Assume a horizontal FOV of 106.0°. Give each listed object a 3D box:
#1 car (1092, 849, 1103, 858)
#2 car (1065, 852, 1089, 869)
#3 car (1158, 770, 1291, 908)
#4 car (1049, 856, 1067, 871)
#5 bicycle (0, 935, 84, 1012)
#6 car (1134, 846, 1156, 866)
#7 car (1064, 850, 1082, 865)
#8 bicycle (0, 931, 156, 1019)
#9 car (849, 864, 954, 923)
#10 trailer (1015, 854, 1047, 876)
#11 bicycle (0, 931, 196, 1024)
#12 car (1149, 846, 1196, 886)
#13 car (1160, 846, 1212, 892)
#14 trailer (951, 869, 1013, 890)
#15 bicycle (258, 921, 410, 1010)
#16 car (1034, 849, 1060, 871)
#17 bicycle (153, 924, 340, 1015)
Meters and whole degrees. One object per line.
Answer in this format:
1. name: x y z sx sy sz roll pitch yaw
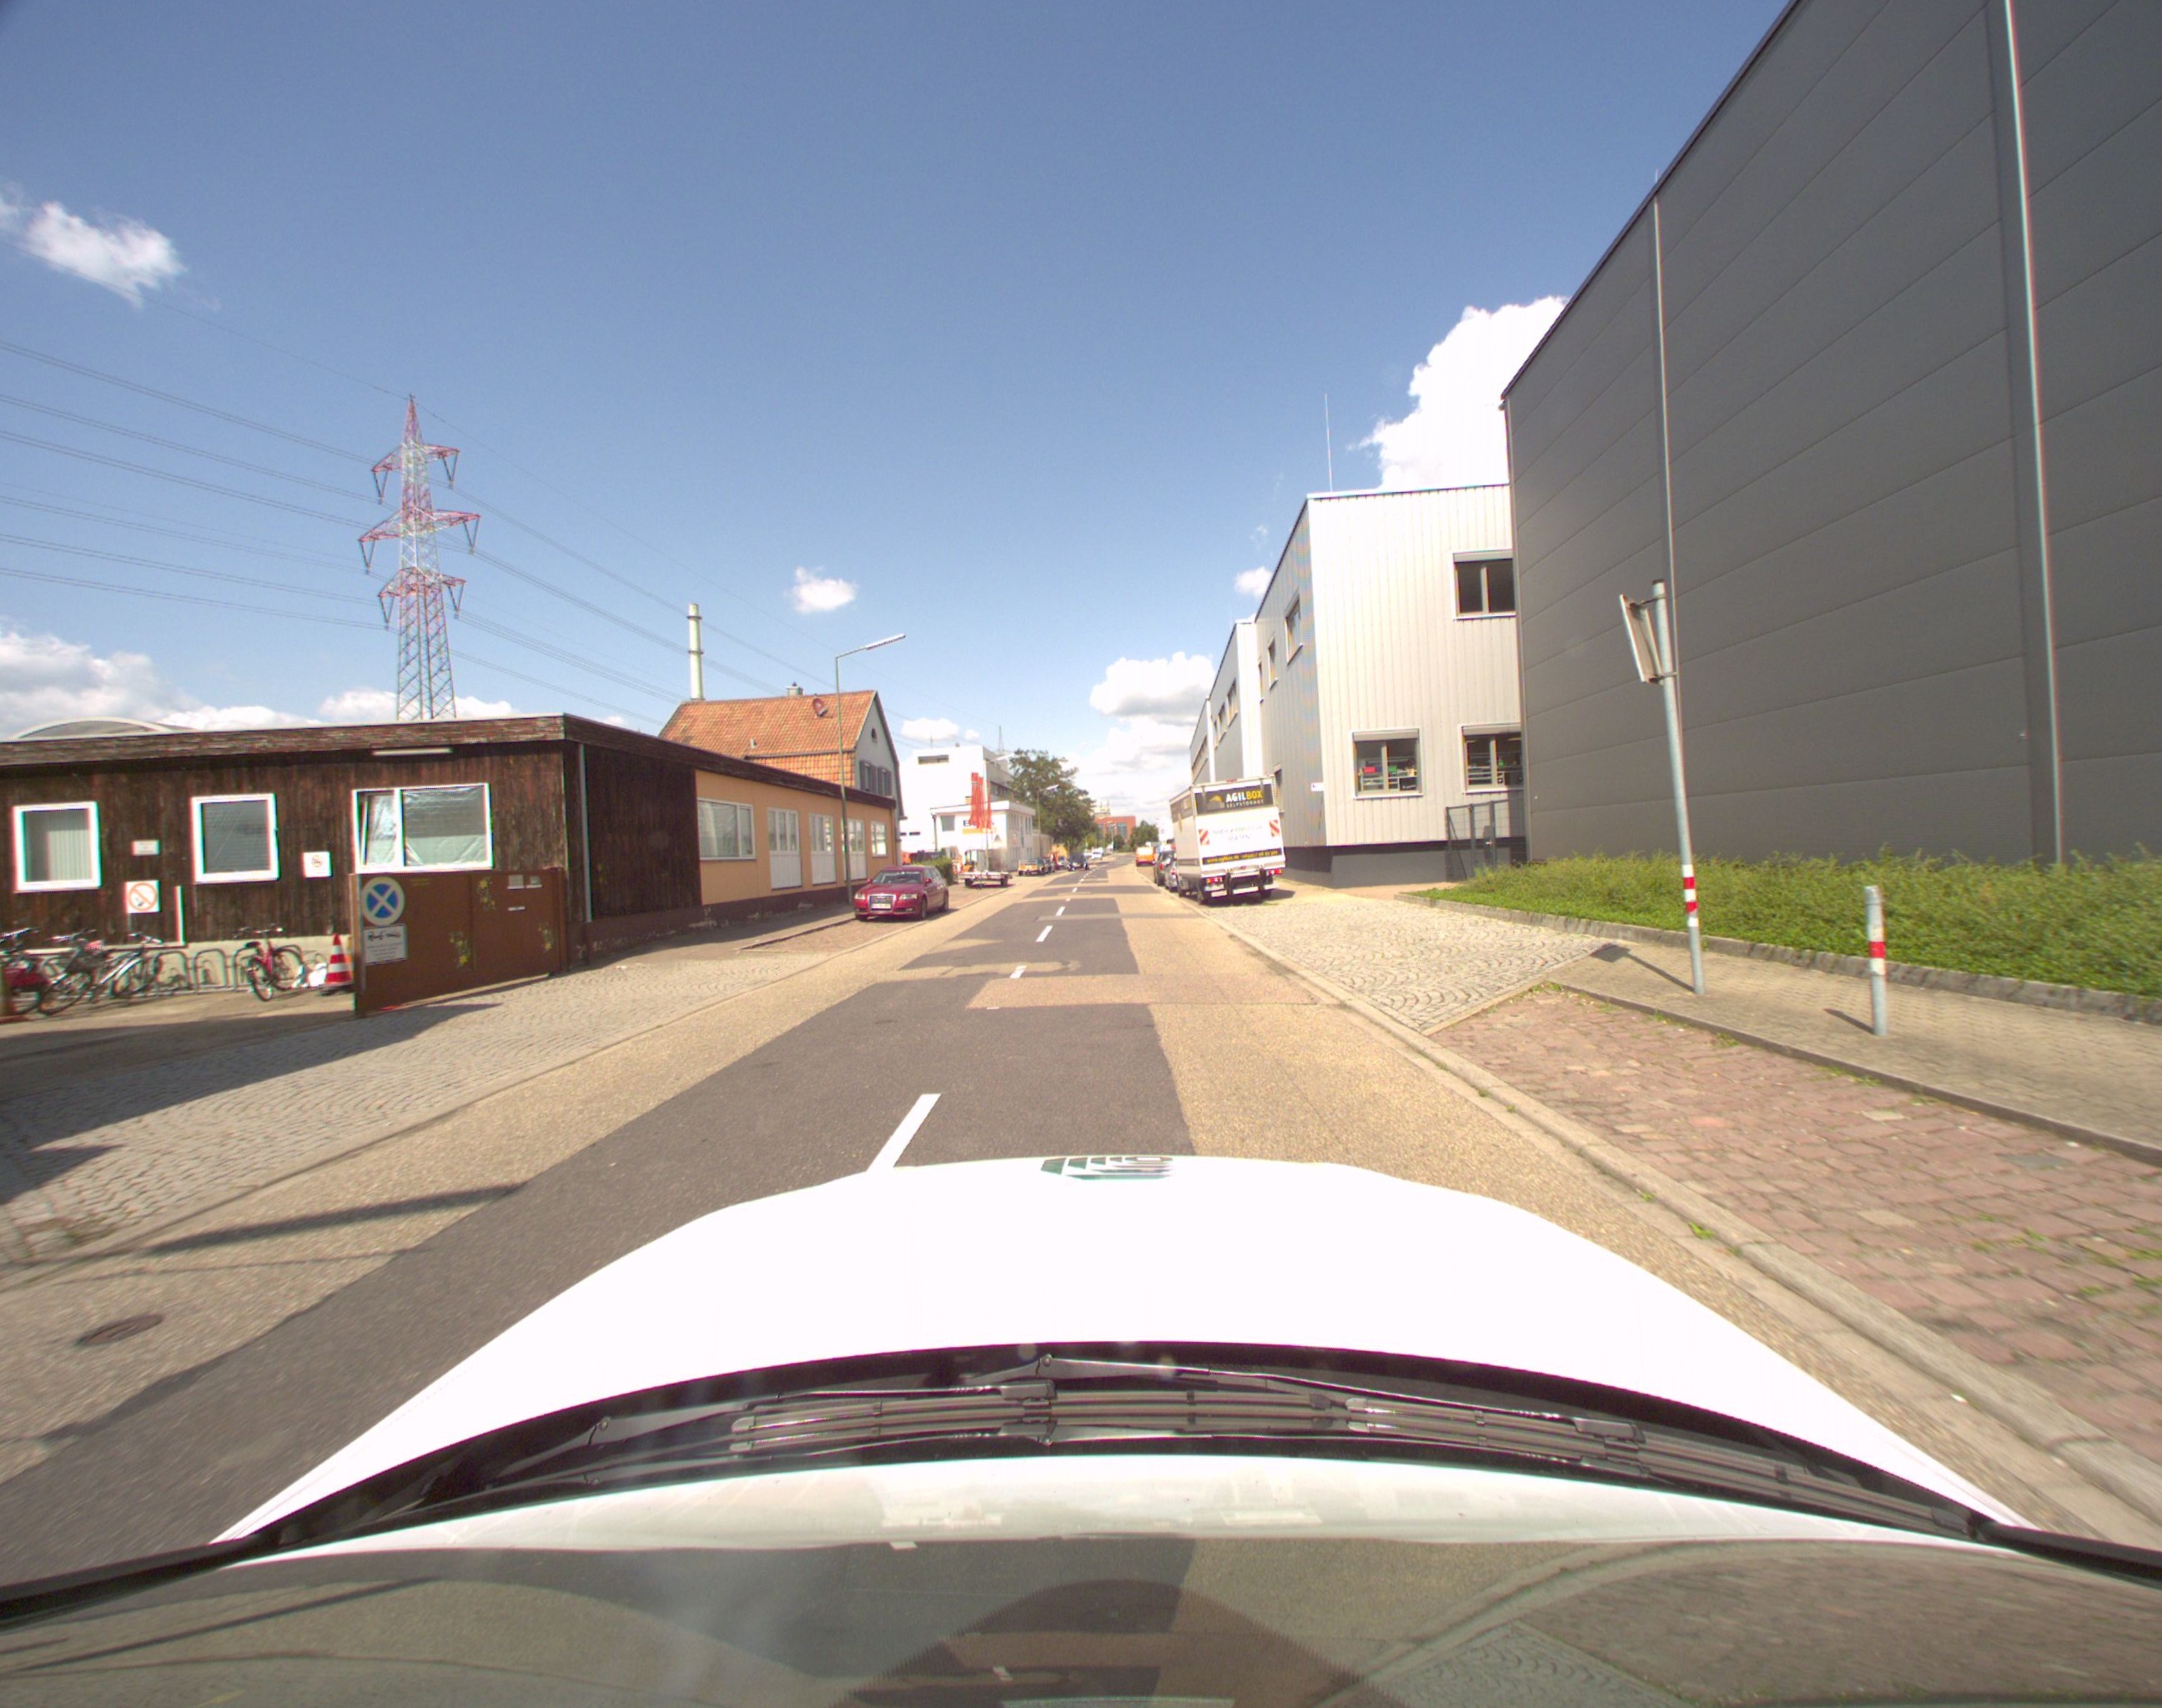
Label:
1. car: 3.136 -0.067 155.501 1.801 1.564 4.006 -1 0 5
2. car: -0.349 0.562 71.419 1.911 1.285 3.615 -4 0 1
3. car: 4.055 -0.386 24.469 2.382 3.362 6.641 -6 0 -1
4. car: -2.335 0.983 84.084 1.662 1.447 3.455 -1 0 2
5. bicycle: -16.217 1.831 12.169 0.500 0.996 1.722 -1 2 -2
6. car: 6.194 0.200 78.975 1.931 1.742 4.381 -3 0 4
7. car: -0.984 0.439 101.793 1.914 1.794 4.004 -1 0 4
8. bicycle: -15.223 1.769 12.142 0.547 0.952 2.045 -1 2 -2
9. car: -4.975 1.032 23.213 1.755 1.447 4.743 -1 0 2
10. trailer: -3.818 0.838 62.991 1.986 1.556 4.255 -3 0 1
11. bicycle: -14.460 1.756 11.940 0.627 0.955 2.143 -1 2 -2
12. car: 4.090 0.535 36.828 1.761 1.612 3.876 -3 0 3
13. car: 3.989 0.530 31.563 1.561 1.573 4.071 -4 0 2
14. trailer: -5.001 1.260 42.003 2.354 0.893 5.571 -1 0 1
15. bicycle: -11.066 1.613 12.170 0.628 0.955 1.967 -2 2 -8
16. car: -3.265 0.534 78.590 1.985 2.013 4.004 -1 0 4
17. bicycle: -12.113 1.640 11.944 0.627 0.955 2.051 -2 2 -2
